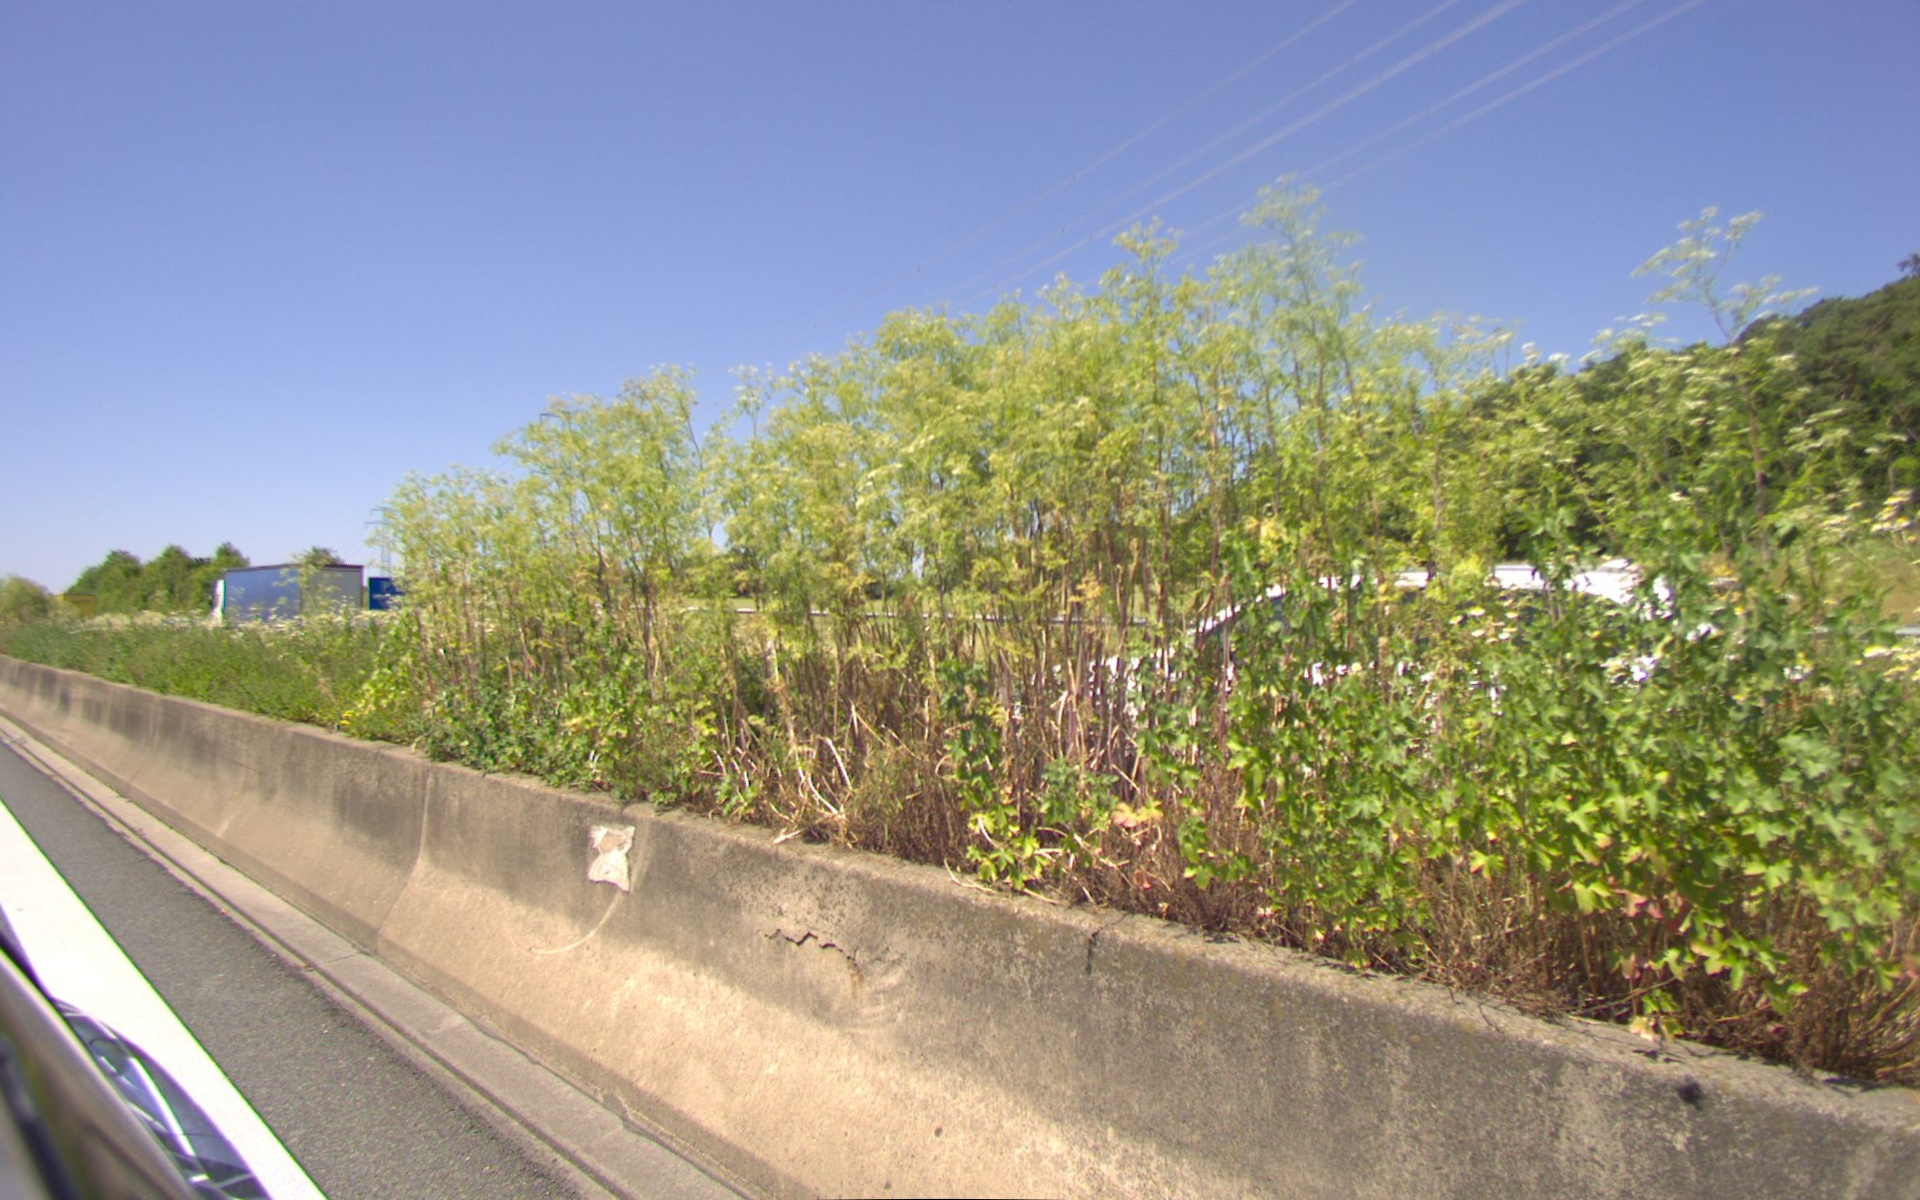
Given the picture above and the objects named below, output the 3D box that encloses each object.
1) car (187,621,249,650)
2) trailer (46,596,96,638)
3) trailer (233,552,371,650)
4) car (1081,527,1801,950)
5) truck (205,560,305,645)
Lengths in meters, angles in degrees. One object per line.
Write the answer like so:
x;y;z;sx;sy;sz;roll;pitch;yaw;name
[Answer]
-32.825;1.551;44.753;3.391;1.247;1.519;-1;-1;41;car
-94.156;1.741;107.109;10.683;4.238;2.792;0;1;42;trailer
-31.903;0.079;48.811;10.980;4.260;2.979;-1;-1;43;trailer
2.734;0.626;6.182;3.667;1.815;1.663;-1;-1;41;car
-37.762;0.146;54.128;6.685;4.260;2.979;-1;-1;43;truck
